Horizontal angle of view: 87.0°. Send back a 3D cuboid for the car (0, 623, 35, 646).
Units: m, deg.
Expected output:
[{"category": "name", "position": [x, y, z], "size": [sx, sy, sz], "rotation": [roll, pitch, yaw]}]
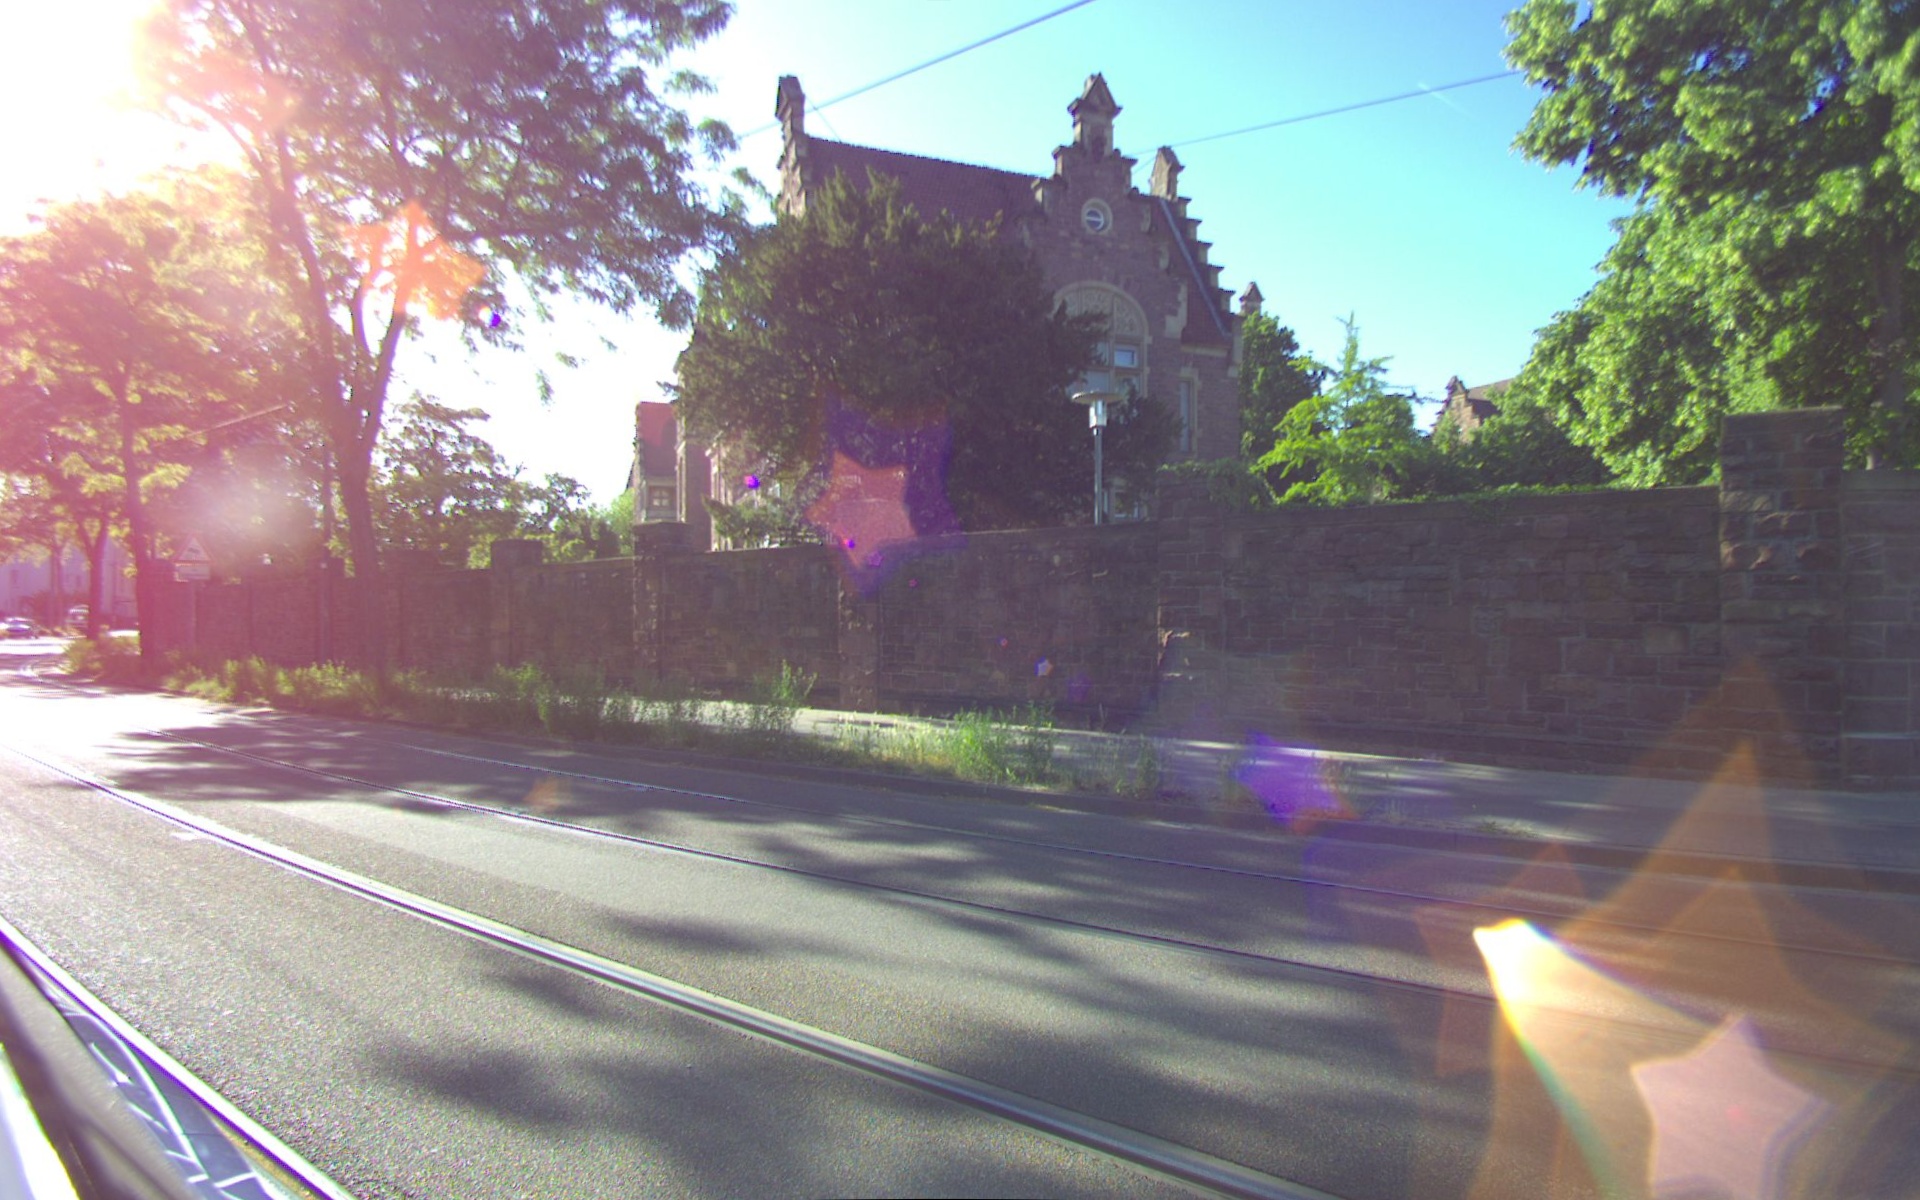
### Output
[{"category": "car", "position": [-68.894, 2.511, 73.834], "size": [1.969, 1.560, 4.005], "rotation": [0, -1, -41]}]
